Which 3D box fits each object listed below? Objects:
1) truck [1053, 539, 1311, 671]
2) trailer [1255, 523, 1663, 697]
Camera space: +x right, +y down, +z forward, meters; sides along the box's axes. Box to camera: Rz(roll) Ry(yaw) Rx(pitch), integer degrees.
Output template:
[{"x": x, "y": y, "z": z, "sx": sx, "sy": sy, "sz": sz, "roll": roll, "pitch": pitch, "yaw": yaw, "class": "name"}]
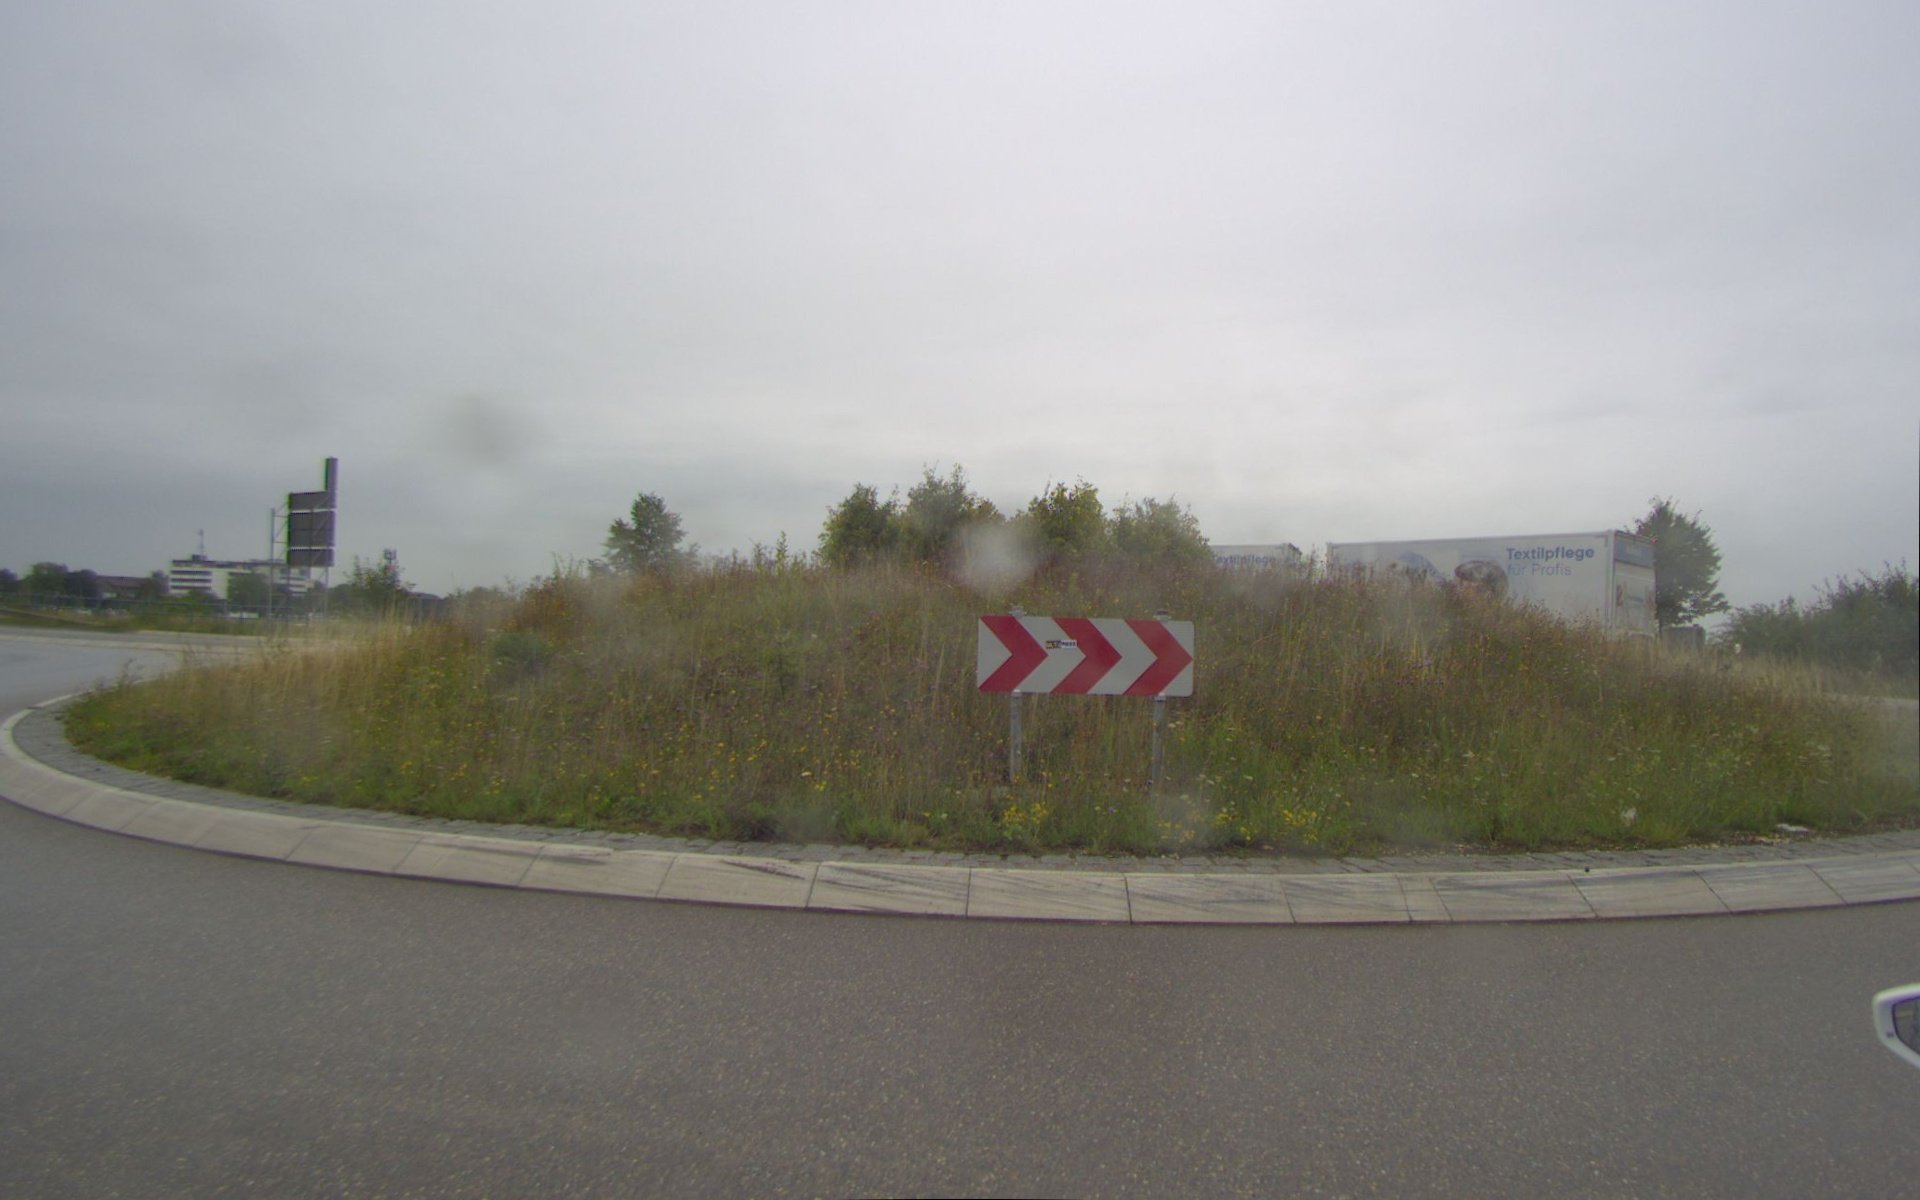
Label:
[{"x": 7.081, "y": 0.118, "z": 32.389, "sx": 7.552, "sy": 3.869, "sz": 2.804, "roll": 1, "pitch": -1, "yaw": 30, "class": "truck"}, {"x": 12.836, "y": 0.262, "z": 27.067, "sx": 2.815, "sy": 3.869, "sz": 9.613, "roll": 2, "pitch": -1, "yaw": -37, "class": "trailer"}]
